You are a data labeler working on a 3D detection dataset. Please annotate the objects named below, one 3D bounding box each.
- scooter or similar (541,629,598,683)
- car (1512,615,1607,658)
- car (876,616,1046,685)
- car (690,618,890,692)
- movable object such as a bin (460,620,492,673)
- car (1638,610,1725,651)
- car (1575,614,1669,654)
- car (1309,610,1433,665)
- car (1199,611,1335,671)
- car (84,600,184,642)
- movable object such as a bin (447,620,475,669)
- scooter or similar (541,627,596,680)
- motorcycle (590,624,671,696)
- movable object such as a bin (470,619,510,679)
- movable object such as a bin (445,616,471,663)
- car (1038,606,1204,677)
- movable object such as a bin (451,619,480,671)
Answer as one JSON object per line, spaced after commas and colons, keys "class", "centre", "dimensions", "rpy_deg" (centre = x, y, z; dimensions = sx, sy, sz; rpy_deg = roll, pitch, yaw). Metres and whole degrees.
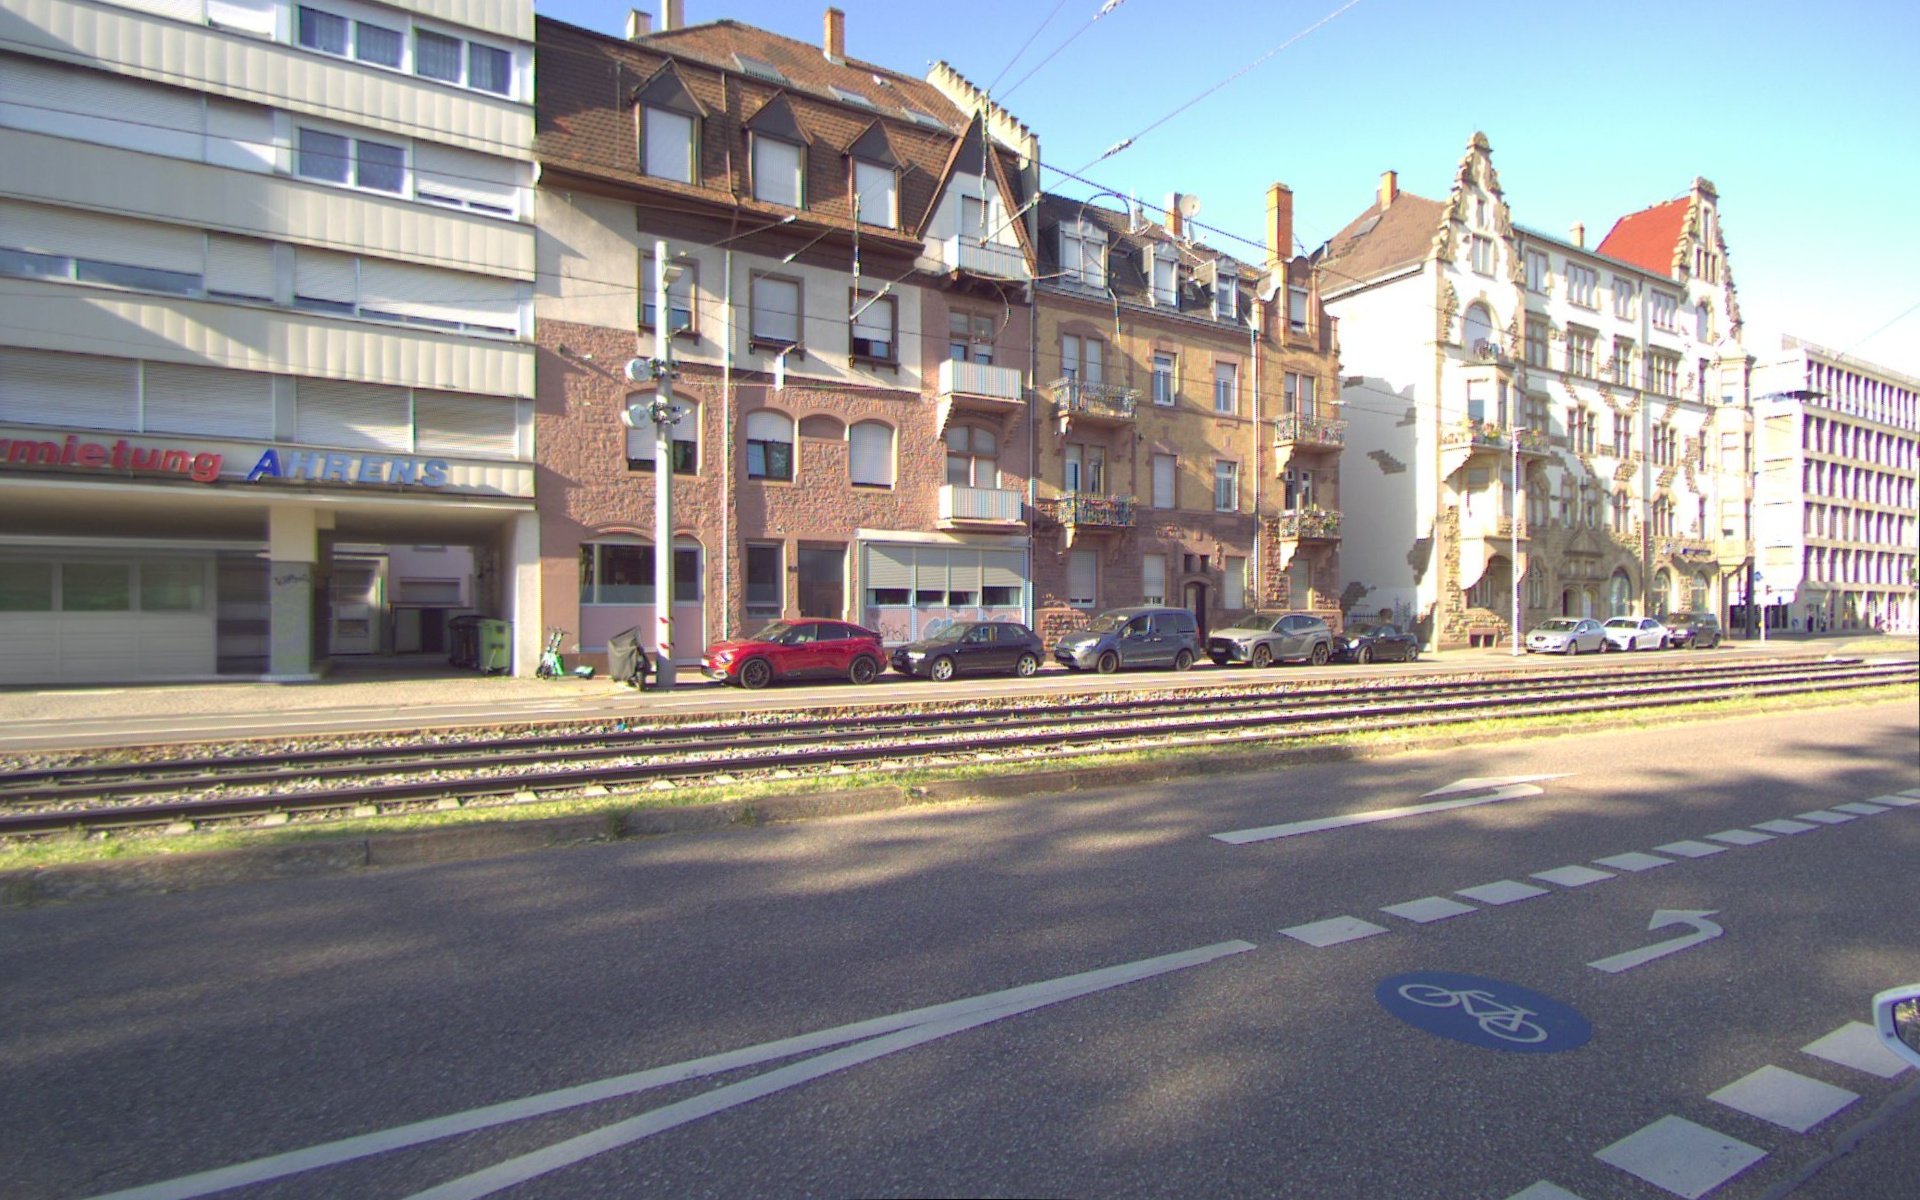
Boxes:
{"class": "scooter or similar", "centre": [-9.142, 1.293, 23.497], "dimensions": [1.186, 1.222, 0.389], "rpy_deg": [1, 2, -30]}
{"class": "car", "centre": [24.155, 1.413, 40.420], "dimensions": [3.960, 1.531, 1.782], "rpy_deg": [0, 2, -35]}
{"class": "car", "centre": [0.041, 1.226, 25.549], "dimensions": [3.954, 1.531, 1.785], "rpy_deg": [0, 2, -31]}
{"class": "car", "centre": [-3.917, 1.214, 23.347], "dimensions": [4.218, 1.479, 1.784], "rpy_deg": [0, 2, -32]}
{"class": "movable object such as a bin", "centre": [-12.978, 1.222, 26.918], "dimensions": [0.628, 1.389, 1.259], "rpy_deg": [0, -1, -34]}
{"class": "car", "centre": [33.323, 1.365, 46.395], "dimensions": [4.138, 1.742, 1.784], "rpy_deg": [0, 2, -32]}
{"class": "car", "centre": [28.657, 1.445, 43.468], "dimensions": [4.138, 1.531, 1.784], "rpy_deg": [0, 2, -32]}
{"class": "car", "centre": [13.887, 1.231, 33.895], "dimensions": [4.151, 1.674, 1.678], "rpy_deg": [0, 2, -31]}
{"class": "car", "centre": [9.566, 1.224, 31.215], "dimensions": [4.151, 1.674, 1.678], "rpy_deg": [0, 2, -31]}
{"class": "car", "centre": [-48.726, 1.244, 59.382], "dimensions": [4.294, 2.322, 1.848], "rpy_deg": [1, 1, -32]}
{"class": "movable object such as a bin", "centre": [-14.528, 1.263, 29.231], "dimensions": [0.628, 1.389, 1.261], "rpy_deg": [0, -1, -30]}
{"class": "scooter or similar", "centre": [-9.357, 1.263, 24.022], "dimensions": [1.186, 1.222, 0.389], "rpy_deg": [1, 2, -30]}
{"class": "motorcycle", "centre": [-7.151, 1.269, 21.749], "dimensions": [2.046, 1.345, 0.835], "rpy_deg": [3, 3, 45]}
{"class": "movable object such as a bin", "centre": [-11.457, 1.172, 24.484], "dimensions": [0.629, 1.389, 1.401], "rpy_deg": [0, 0, -36]}
{"class": "movable object such as a bin", "centre": [-15.190, 1.191, 30.392], "dimensions": [0.628, 1.389, 1.261], "rpy_deg": [0, -1, -30]}
{"class": "car", "centre": [4.543, 1.114, 28.212], "dimensions": [4.399, 1.777, 1.787], "rpy_deg": [1, 2, -28]}
{"class": "movable object such as a bin", "centre": [-13.786, 1.235, 27.992], "dimensions": [0.628, 1.389, 1.261], "rpy_deg": [0, -1, -30]}
